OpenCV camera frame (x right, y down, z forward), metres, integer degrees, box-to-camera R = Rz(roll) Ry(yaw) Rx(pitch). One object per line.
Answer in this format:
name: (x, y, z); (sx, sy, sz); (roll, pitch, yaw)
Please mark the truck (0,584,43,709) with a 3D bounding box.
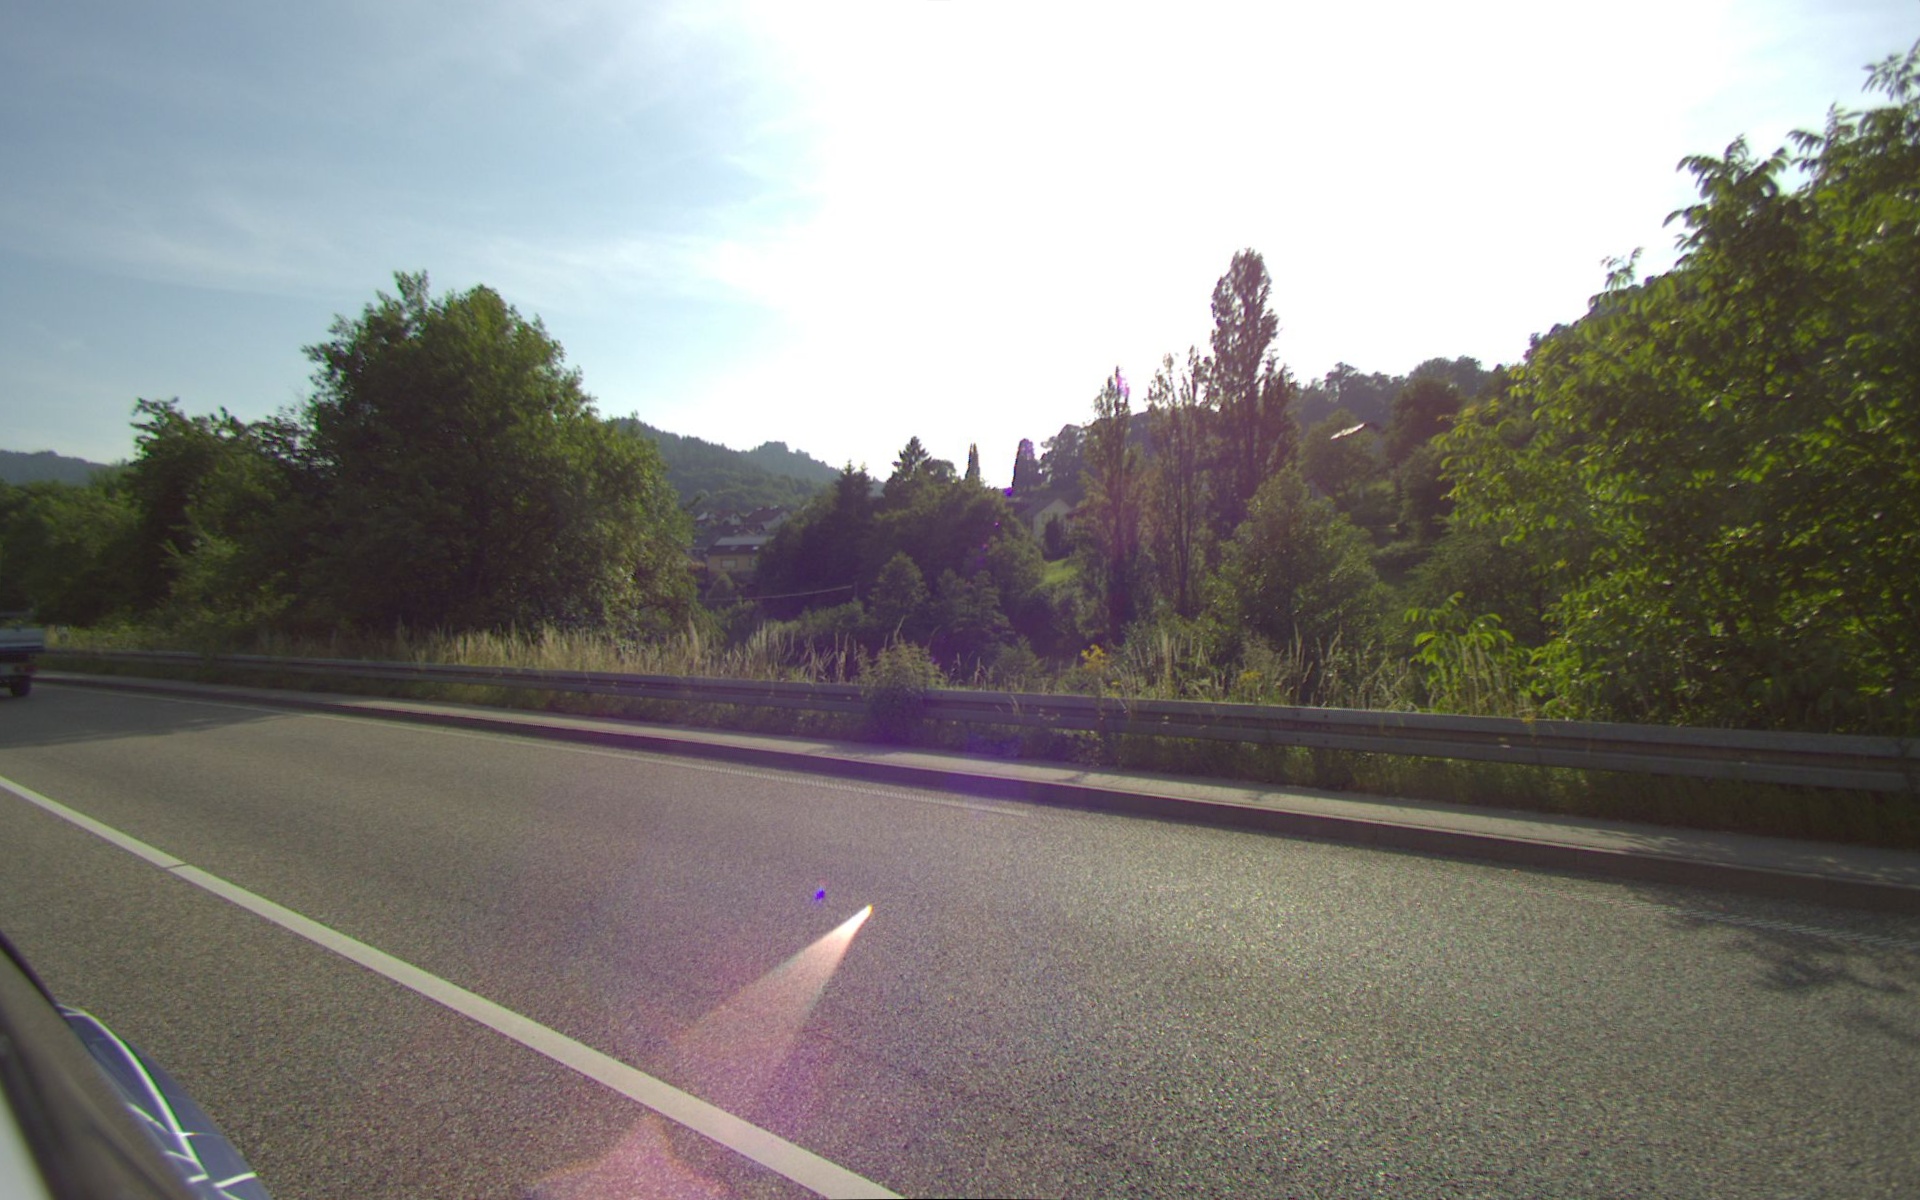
truck: (-21.301, 0.968, 20.819); (6.729, 2.383, 2.139); (-1, 0, 35)
